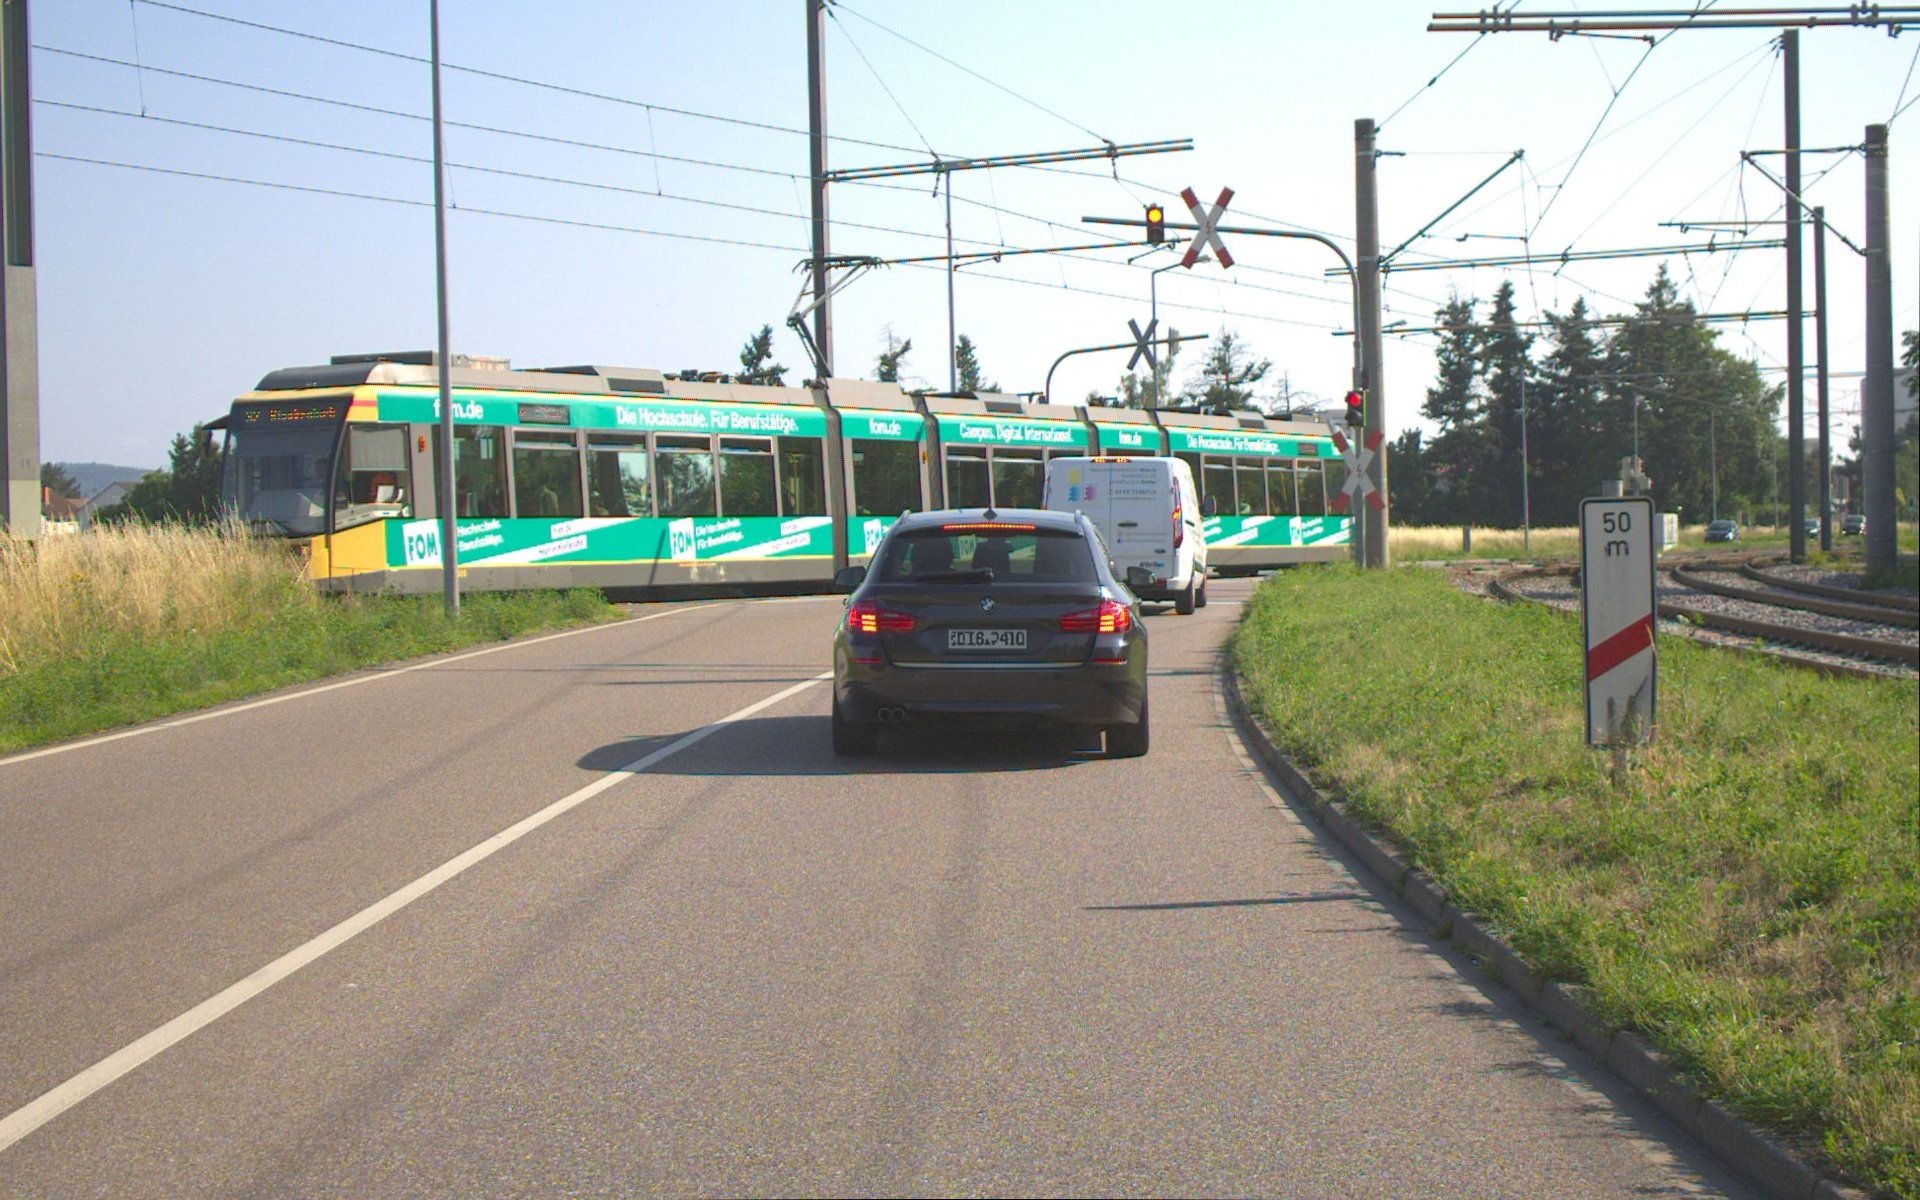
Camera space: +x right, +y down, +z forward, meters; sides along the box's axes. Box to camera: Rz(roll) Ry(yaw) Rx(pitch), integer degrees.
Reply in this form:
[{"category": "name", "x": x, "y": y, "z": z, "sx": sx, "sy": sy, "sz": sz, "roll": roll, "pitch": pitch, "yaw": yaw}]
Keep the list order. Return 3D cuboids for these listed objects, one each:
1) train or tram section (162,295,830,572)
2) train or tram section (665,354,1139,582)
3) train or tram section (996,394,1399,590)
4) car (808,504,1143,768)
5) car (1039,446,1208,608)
[{"category": "train or tram section", "x": -6.219, "y": -2.167, "z": 49.429, "sx": 2.955, "sy": 3.473, "sz": 12.147, "roll": 1, "pitch": 1, "yaw": 28}, {"category": "train or tram section", "x": -0.687, "y": -2.133, "z": 60.266, "sx": 2.921, "sy": 3.442, "sz": 12.147, "roll": 1, "pitch": 0, "yaw": 27}, {"category": "train or tram section", "x": 5.302, "y": -2.084, "z": 72.022, "sx": 2.911, "sy": 3.556, "sz": 14.239, "roll": 1, "pitch": 0, "yaw": 28}, {"category": "car", "x": 0.185, "y": 0.138, "z": 21.555, "sx": 1.869, "sy": 1.447, "sz": 4.744, "roll": 0, "pitch": 2, "yaw": 2}, {"category": "car", "x": 2.179, "y": -0.959, "z": 44.615, "sx": 1.858, "sy": 1.981, "sz": 5.107, "roll": 0, "pitch": 1, "yaw": 7}]
